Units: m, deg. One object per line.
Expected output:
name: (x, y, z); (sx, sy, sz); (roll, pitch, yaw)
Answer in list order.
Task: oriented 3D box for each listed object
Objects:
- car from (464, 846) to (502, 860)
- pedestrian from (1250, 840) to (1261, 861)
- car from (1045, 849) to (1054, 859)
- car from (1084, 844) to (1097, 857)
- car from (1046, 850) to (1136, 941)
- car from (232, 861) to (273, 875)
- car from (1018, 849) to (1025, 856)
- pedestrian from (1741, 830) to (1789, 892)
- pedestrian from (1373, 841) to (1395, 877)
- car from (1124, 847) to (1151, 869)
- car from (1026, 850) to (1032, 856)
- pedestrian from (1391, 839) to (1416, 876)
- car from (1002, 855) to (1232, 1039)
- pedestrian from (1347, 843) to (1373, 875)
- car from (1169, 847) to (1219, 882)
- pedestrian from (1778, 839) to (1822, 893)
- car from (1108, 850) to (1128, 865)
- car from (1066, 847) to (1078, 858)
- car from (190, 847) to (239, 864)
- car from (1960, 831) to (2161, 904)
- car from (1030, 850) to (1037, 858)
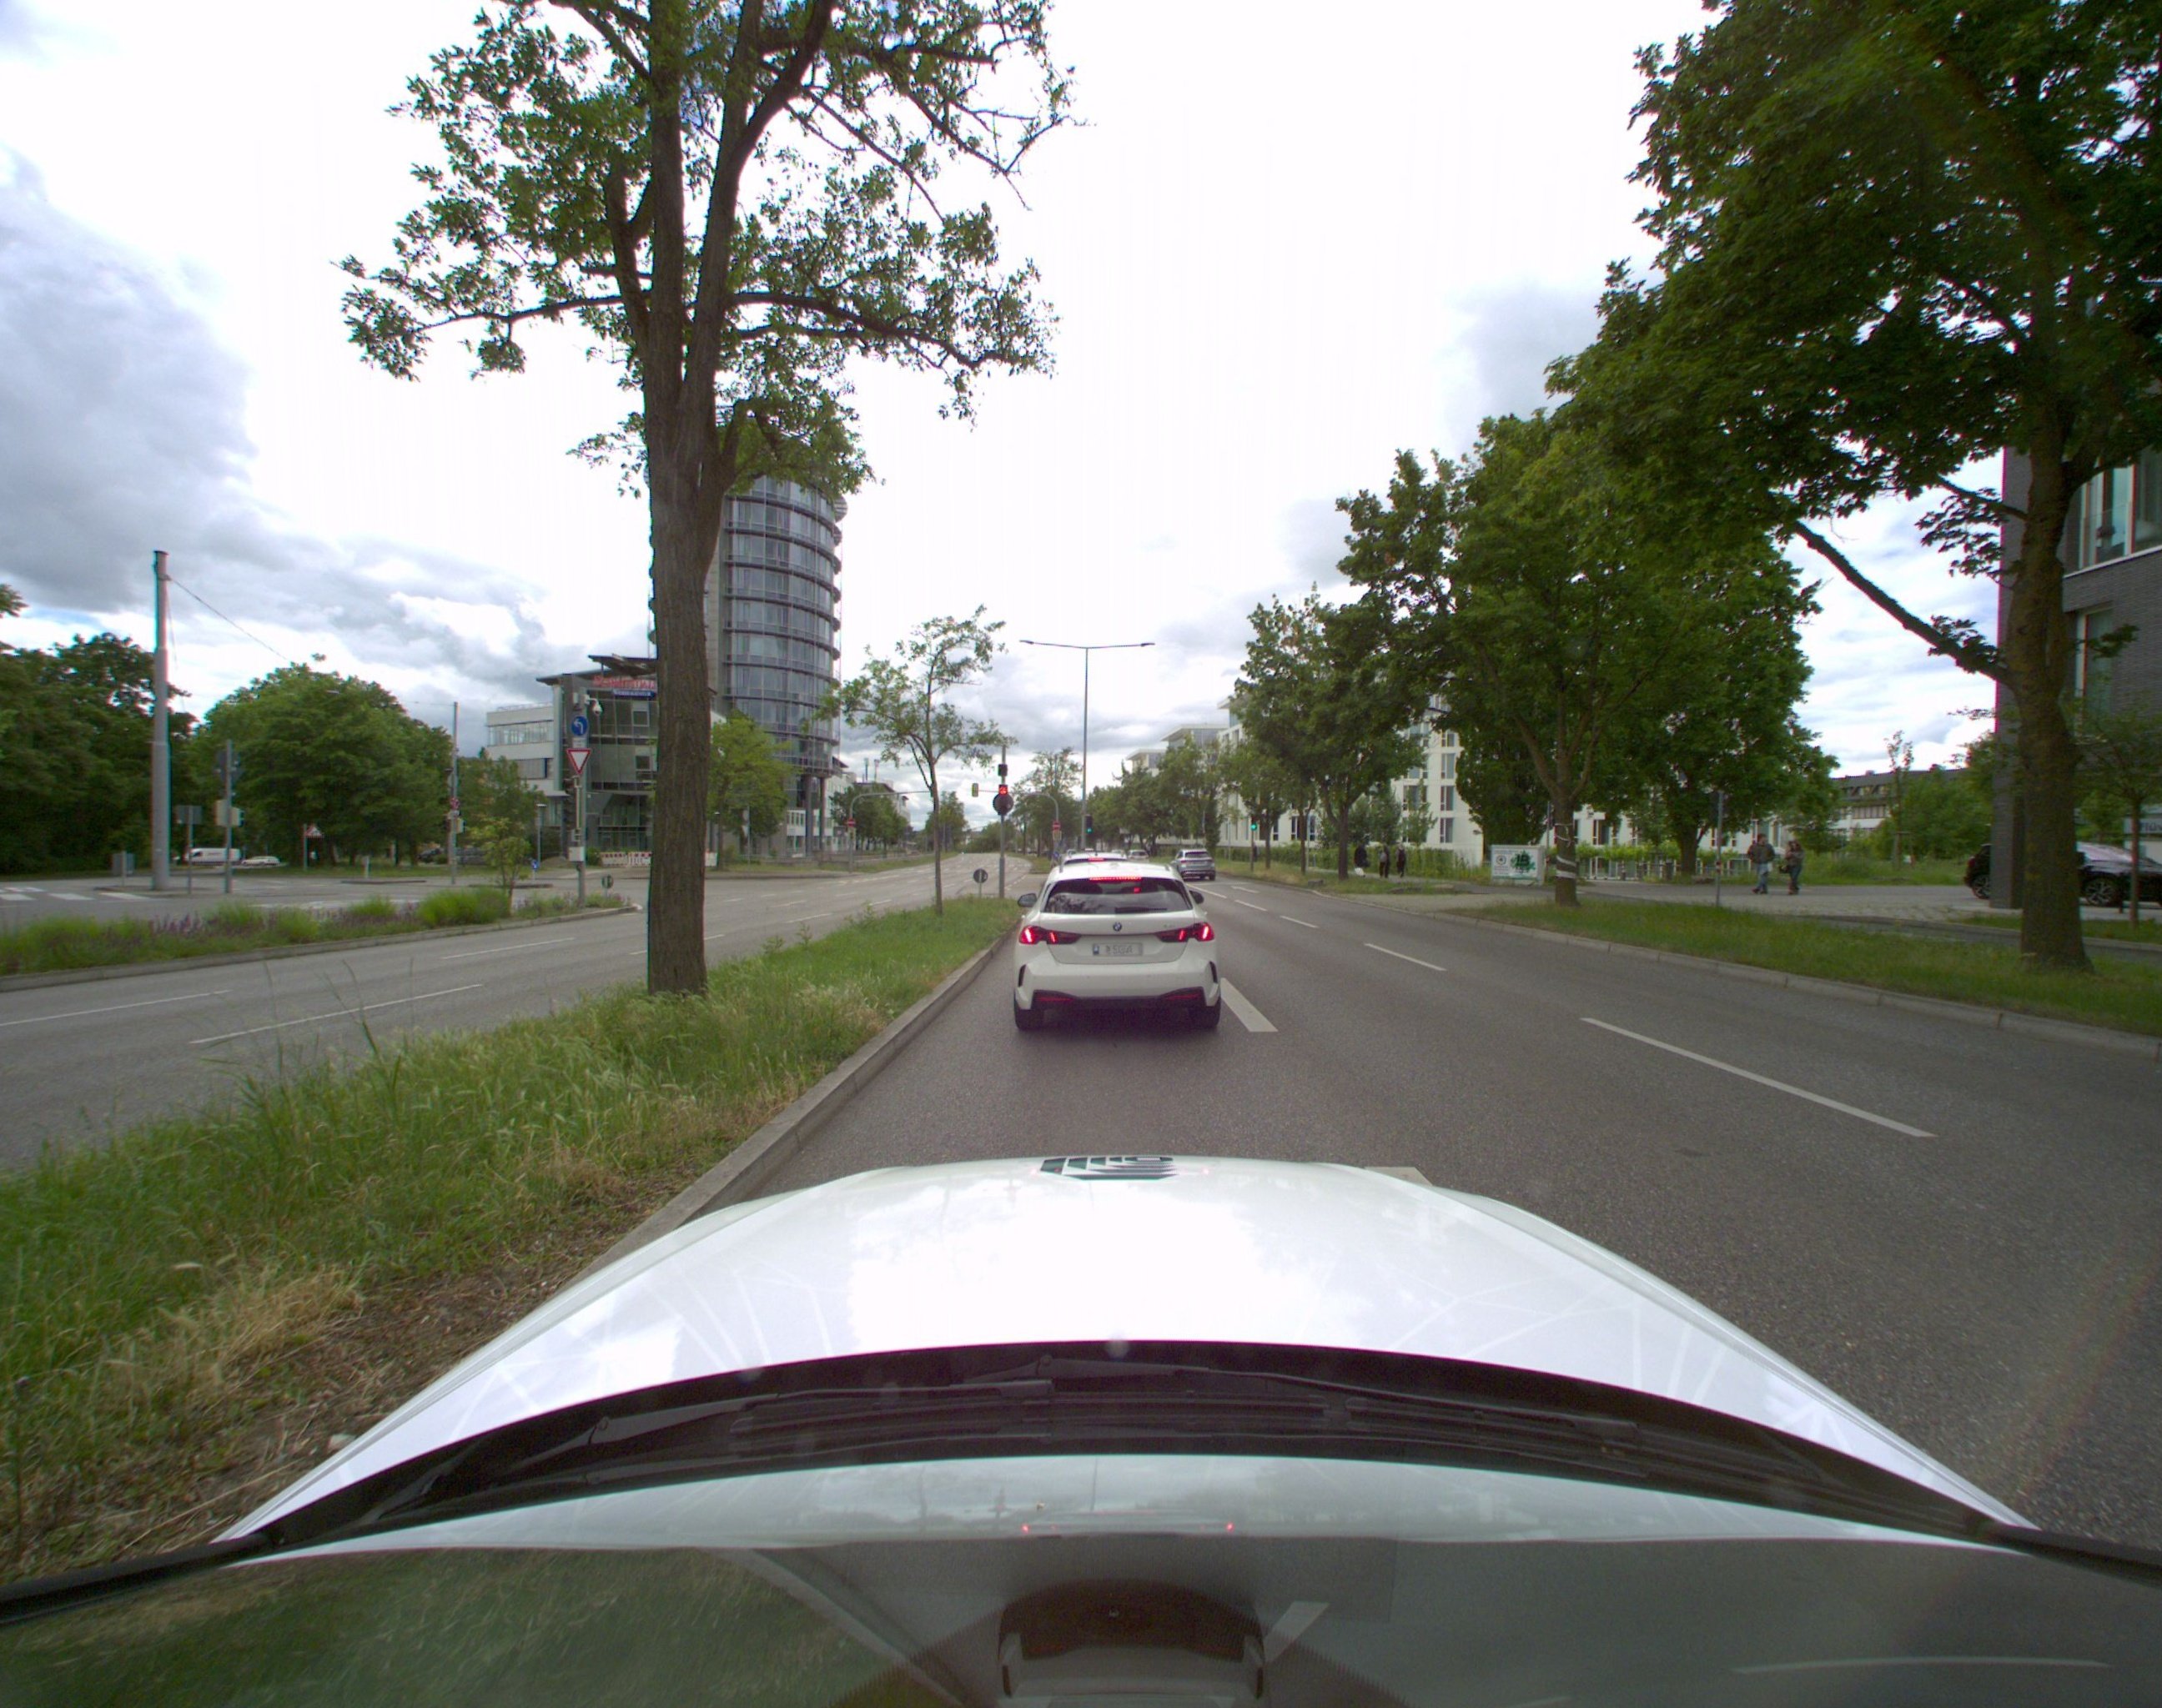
car: (-37.363, -0.066, 50.891); (0.766, 0.876, 1.730); (0, 0, 38)
pedestrian: (13.653, -0.274, 63.649); (0.739, 1.574, 0.674); (0, -1, 0)
car: (-5.358, 0.073, 138.607); (1.597, 1.666, 3.997); (0, 0, -2)
car: (1.194, -0.444, 107.891); (1.597, 1.666, 3.997); (0, 0, -2)
car: (0.242, 0.712, 15.988); (1.544, 1.569, 4.002); (0, 0, 2)
car: (-118.792, 1.971, 116.776); (3.977, 2.013, 1.722); (0, 0, -2)
car: (-16.280, -0.351, 222.809); (1.834, 2.014, 3.994); (0, -1, -4)
pedestrian: (21.092, 0.208, 25.109); (0.983, 1.868, 0.952); (0, 0, -38)
pedestrian: (13.825, 0.221, 37.178); (0.697, 1.595, 0.883); (0, -1, 1)
car: (4.634, 0.328, 67.661); (1.692, 1.717, 3.994); (0, 0, -4)
car: (-15.608, -0.312, 244.703); (1.834, 2.014, 3.994); (0, -1, -4)
pedestrian: (14.738, 0.159, 37.227); (0.764, 1.685, 0.883); (0, -1, 1)
car: (0.349, 0.740, 8.461); (1.815, 1.438, 4.002); (0, 0, 2)
pedestrian: (12.715, 0.229, 37.168); (0.786, 1.448, 1.112); (0, -1, 1)
car: (5.757, 0.496, 42.047); (1.987, 1.670, 3.999); (-2, 0, 0)
pedestrian: (21.632, 0.351, 24.505); (0.880, 1.557, 0.825); (0, 0, -38)
car: (3.773, 0.375, 82.959); (1.689, 1.486, 3.689); (0, 0, -3)
car: (-1.438, -0.285, 128.386); (1.734, 1.666, 3.997); (0, 0, -2)
car: (-128.874, 0.242, 121.200); (1.978, 2.339, 4.570); (-1, -1, 16)
car: (24.892, 0.298, 20.235); (1.749, 1.646, 4.151); (0, 0, 2)
car: (-12.572, -0.067, 216.836); (1.834, 2.014, 3.994); (0, -1, -4)
